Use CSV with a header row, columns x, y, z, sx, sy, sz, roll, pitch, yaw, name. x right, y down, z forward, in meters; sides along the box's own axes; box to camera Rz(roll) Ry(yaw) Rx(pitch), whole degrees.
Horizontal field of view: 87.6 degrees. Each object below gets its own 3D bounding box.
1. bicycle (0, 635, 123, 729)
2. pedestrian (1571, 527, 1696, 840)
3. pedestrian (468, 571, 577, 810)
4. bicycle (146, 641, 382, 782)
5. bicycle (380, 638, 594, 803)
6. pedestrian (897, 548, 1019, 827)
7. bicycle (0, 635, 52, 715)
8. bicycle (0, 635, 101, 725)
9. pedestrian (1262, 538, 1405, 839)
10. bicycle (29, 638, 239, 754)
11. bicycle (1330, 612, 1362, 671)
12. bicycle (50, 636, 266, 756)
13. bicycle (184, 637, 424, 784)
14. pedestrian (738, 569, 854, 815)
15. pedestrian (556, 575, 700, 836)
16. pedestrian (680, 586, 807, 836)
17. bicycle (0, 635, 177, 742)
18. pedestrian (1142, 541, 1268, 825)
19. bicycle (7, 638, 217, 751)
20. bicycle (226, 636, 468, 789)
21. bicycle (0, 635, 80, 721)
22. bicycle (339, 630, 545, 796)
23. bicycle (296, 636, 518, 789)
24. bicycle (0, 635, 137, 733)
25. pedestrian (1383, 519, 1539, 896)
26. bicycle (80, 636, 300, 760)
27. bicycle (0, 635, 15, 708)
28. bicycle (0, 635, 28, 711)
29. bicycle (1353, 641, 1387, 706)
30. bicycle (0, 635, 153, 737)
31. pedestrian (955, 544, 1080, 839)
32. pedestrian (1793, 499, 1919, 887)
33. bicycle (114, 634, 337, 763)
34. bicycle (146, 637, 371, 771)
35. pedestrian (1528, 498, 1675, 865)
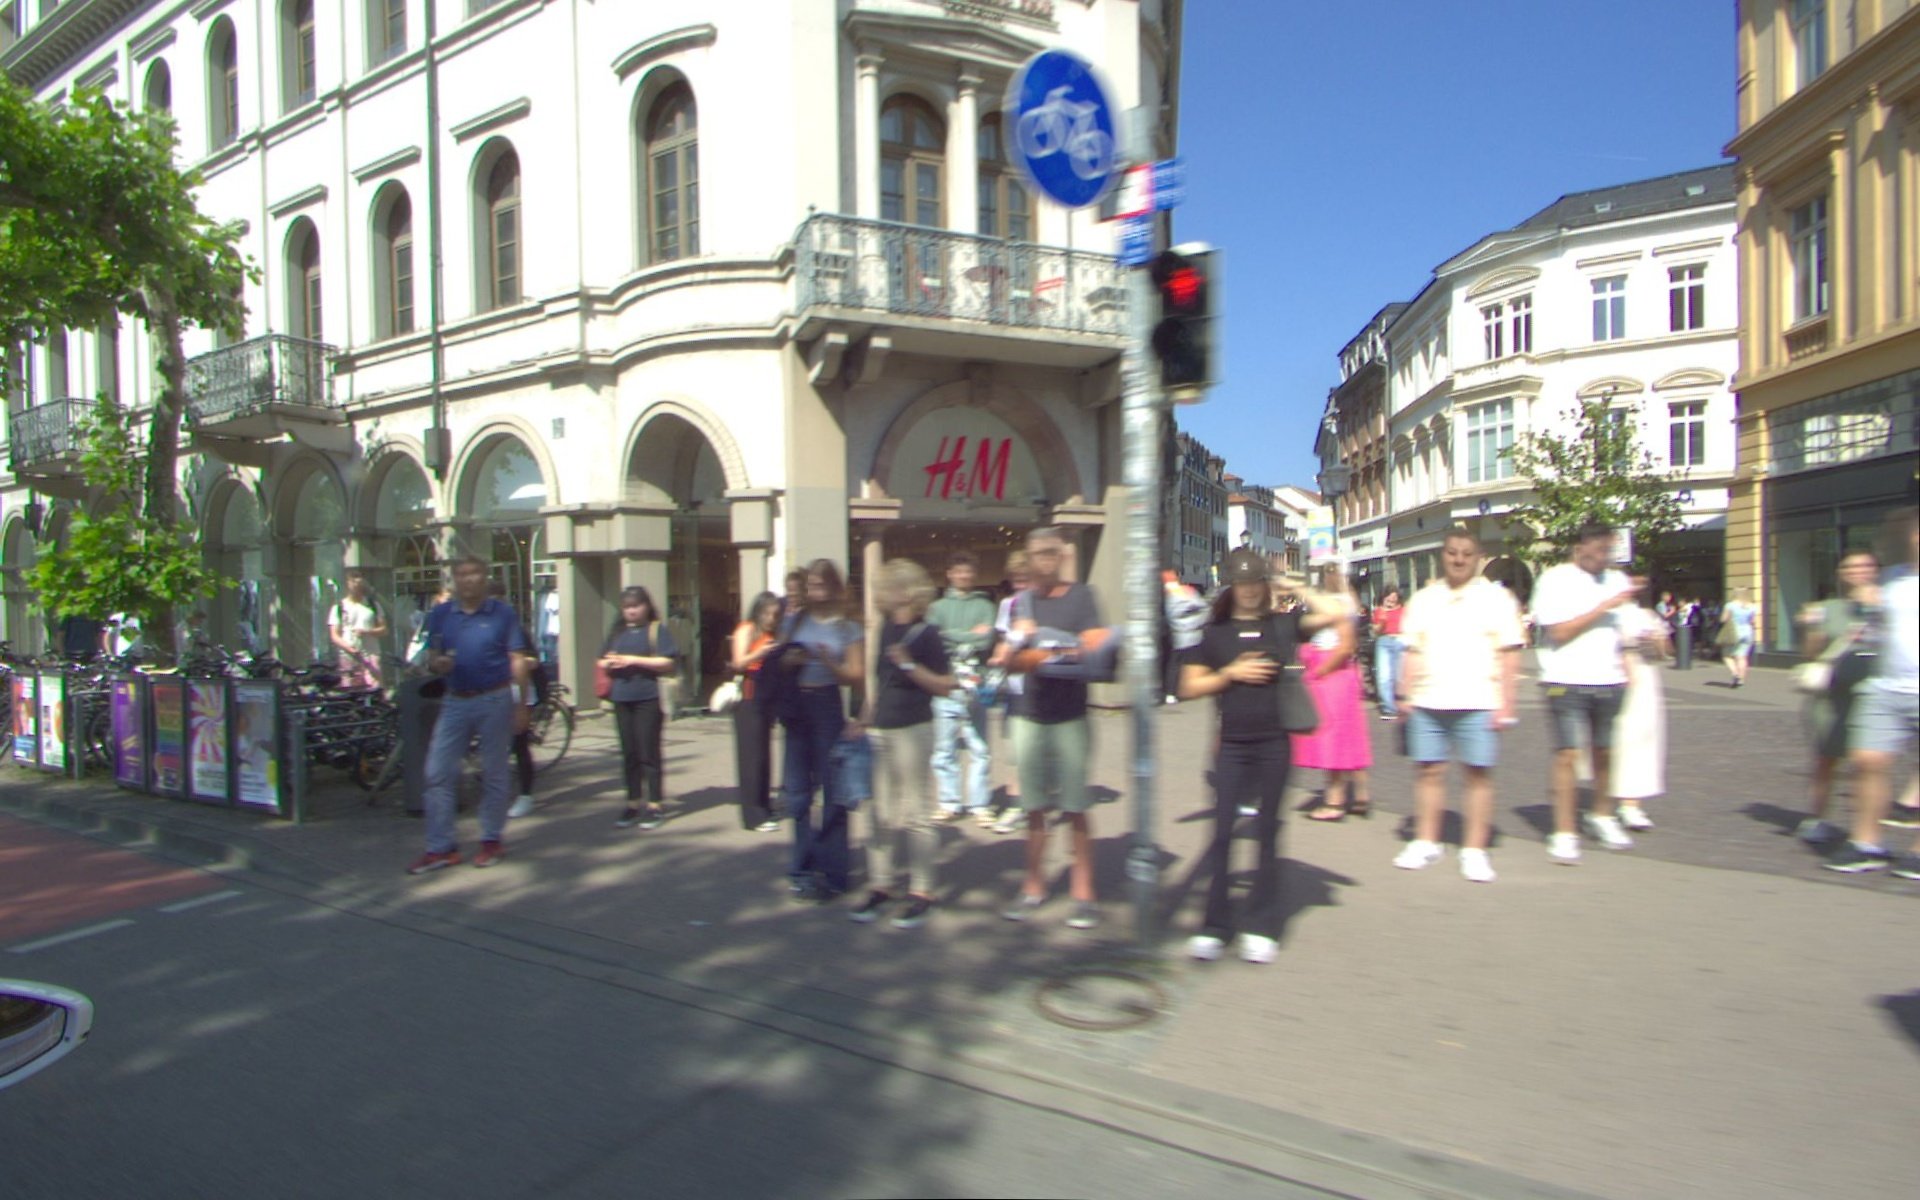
x,y,z,sx,sy,sz,roll,pitch,yaw,name
-12.186,1.058,13.140,0.583,1.162,1.751,-1,-1,29,bicycle
4.295,0.515,6.429,0.613,1.868,0.662,-1,-2,31,pedestrian
-3.261,0.658,7.505,0.610,1.706,0.578,0,-2,-10,pedestrian
-6.482,0.986,9.432,0.583,1.162,1.751,-1,-1,29,bicycle
-3.763,0.909,8.110,0.419,1.162,1.627,-1,-1,29,bicycle
-0.005,0.564,6.675,0.612,1.746,0.576,-1,-2,28,pedestrian
-14.528,1.115,14.650,0.583,1.162,1.751,-1,-1,29,bicycle
-12.801,1.071,13.511,0.583,1.162,1.751,-1,-1,29,bicycle
2.409,0.556,6.505,0.621,1.840,0.622,0,-2,-12,pedestrian
-9.189,1.026,11.225,0.510,1.162,1.751,-1,-1,29,bicycle
6.775,0.729,17.598,0.492,0.988,2.003,-1,-2,21,bicycle
-8.690,0.993,10.935,0.583,1.162,1.751,-1,-1,29,bicycle
-5.881,0.935,9.084,0.583,1.162,1.751,-1,-1,29,bicycle
-1.193,0.652,7.345,0.612,1.706,0.576,-1,-2,28,pedestrian
-2.313,0.705,7.001,0.763,1.706,0.576,-1,-2,28,pedestrian
-1.466,0.726,6.828,0.612,1.604,0.576,-1,-2,28,pedestrian
-10.555,1.016,12.002,0.583,1.162,1.751,-1,-1,29,bicycle
1.695,0.549,6.910,0.689,1.827,0.648,-1,-2,30,pedestrian
-9.696,1.038,11.525,0.589,1.162,1.751,-1,-1,29,bicycle
-5.287,0.913,8.760,0.583,1.162,1.751,-1,-1,29,bicycle
-13.443,1.087,13.903,0.583,1.162,1.751,-1,-1,29,bicycle
-4.223,0.871,8.275,0.419,1.212,1.527,-1,-1,29,bicycle
-4.702,0.906,8.637,0.515,1.162,1.654,-1,-1,29,bicycle
-11.651,1.043,12.732,0.583,1.162,1.751,-1,-1,29,bicycle
2.633,0.535,5.282,0.686,1.825,0.576,-1,-2,28,pedestrian
-8.071,0.983,10.585,0.583,1.162,1.751,-1,-1,29,bicycle
-15.913,1.147,15.515,0.583,1.162,1.751,-1,-1,29,bicycle
-15.341,1.134,15.133,0.583,1.162,1.751,-1,-1,29,bicycle
6.083,1.066,14.894,0.410,0.895,1.809,0,-2,21,bicycle
-11.145,1.031,12.361,0.583,1.162,1.751,-1,-1,29,bicycle
0.374,0.559,6.373,0.612,1.761,0.576,-1,-2,28,pedestrian
4.880,0.456,5.034,0.612,1.868,0.853,1,-2,-20,pedestrian
-7.423,0.945,10.218,0.583,1.162,1.751,-1,-1,29,bicycle
-6.897,0.974,9.944,0.583,1.173,1.751,-1,-1,29,bicycle
3.546,0.433,5.591,0.612,1.882,0.684,-1,-2,28,pedestrian
